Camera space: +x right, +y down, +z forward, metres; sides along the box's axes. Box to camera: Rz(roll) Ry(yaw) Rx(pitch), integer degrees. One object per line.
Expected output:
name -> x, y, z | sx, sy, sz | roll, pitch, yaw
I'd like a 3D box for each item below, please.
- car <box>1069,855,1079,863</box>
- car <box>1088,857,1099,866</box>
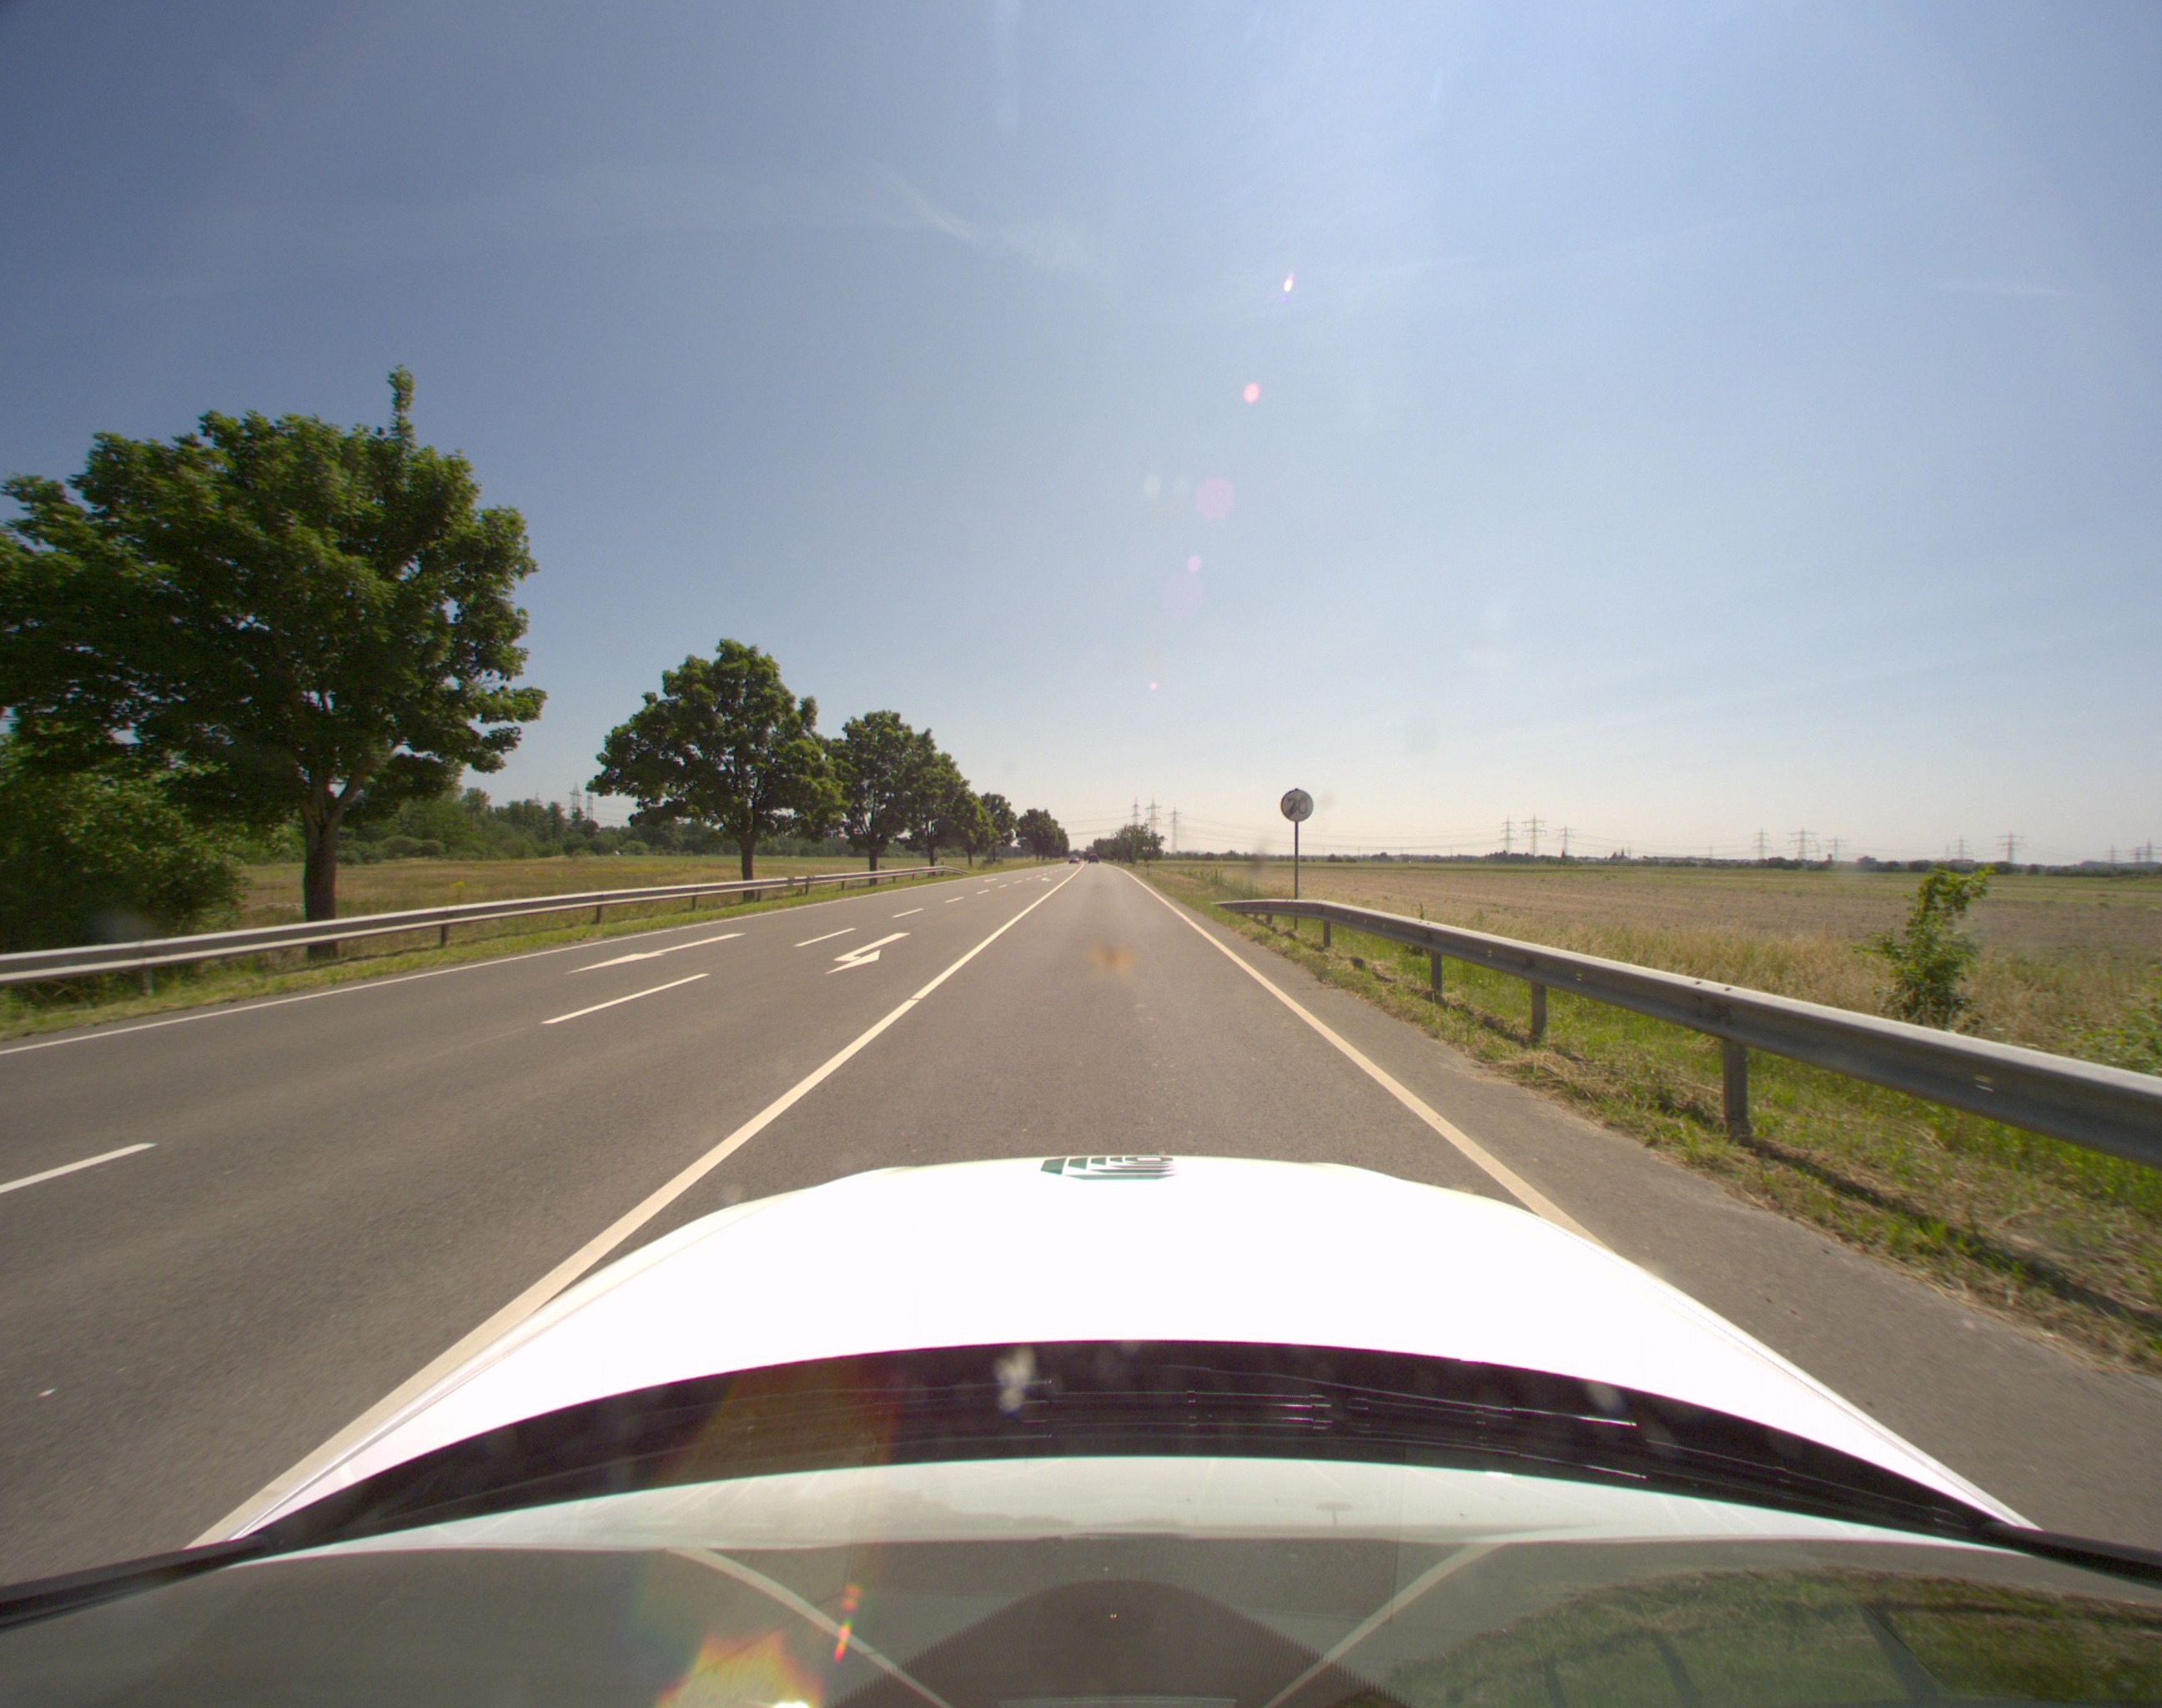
car -> -1.215, 0.841, 145.150 | 1.734, 1.473, 4.617 | -1, 0, 0
car -> 2.289, 1.371, 148.131 | 1.879, 1.518, 4.039 | 3, 0, 0
